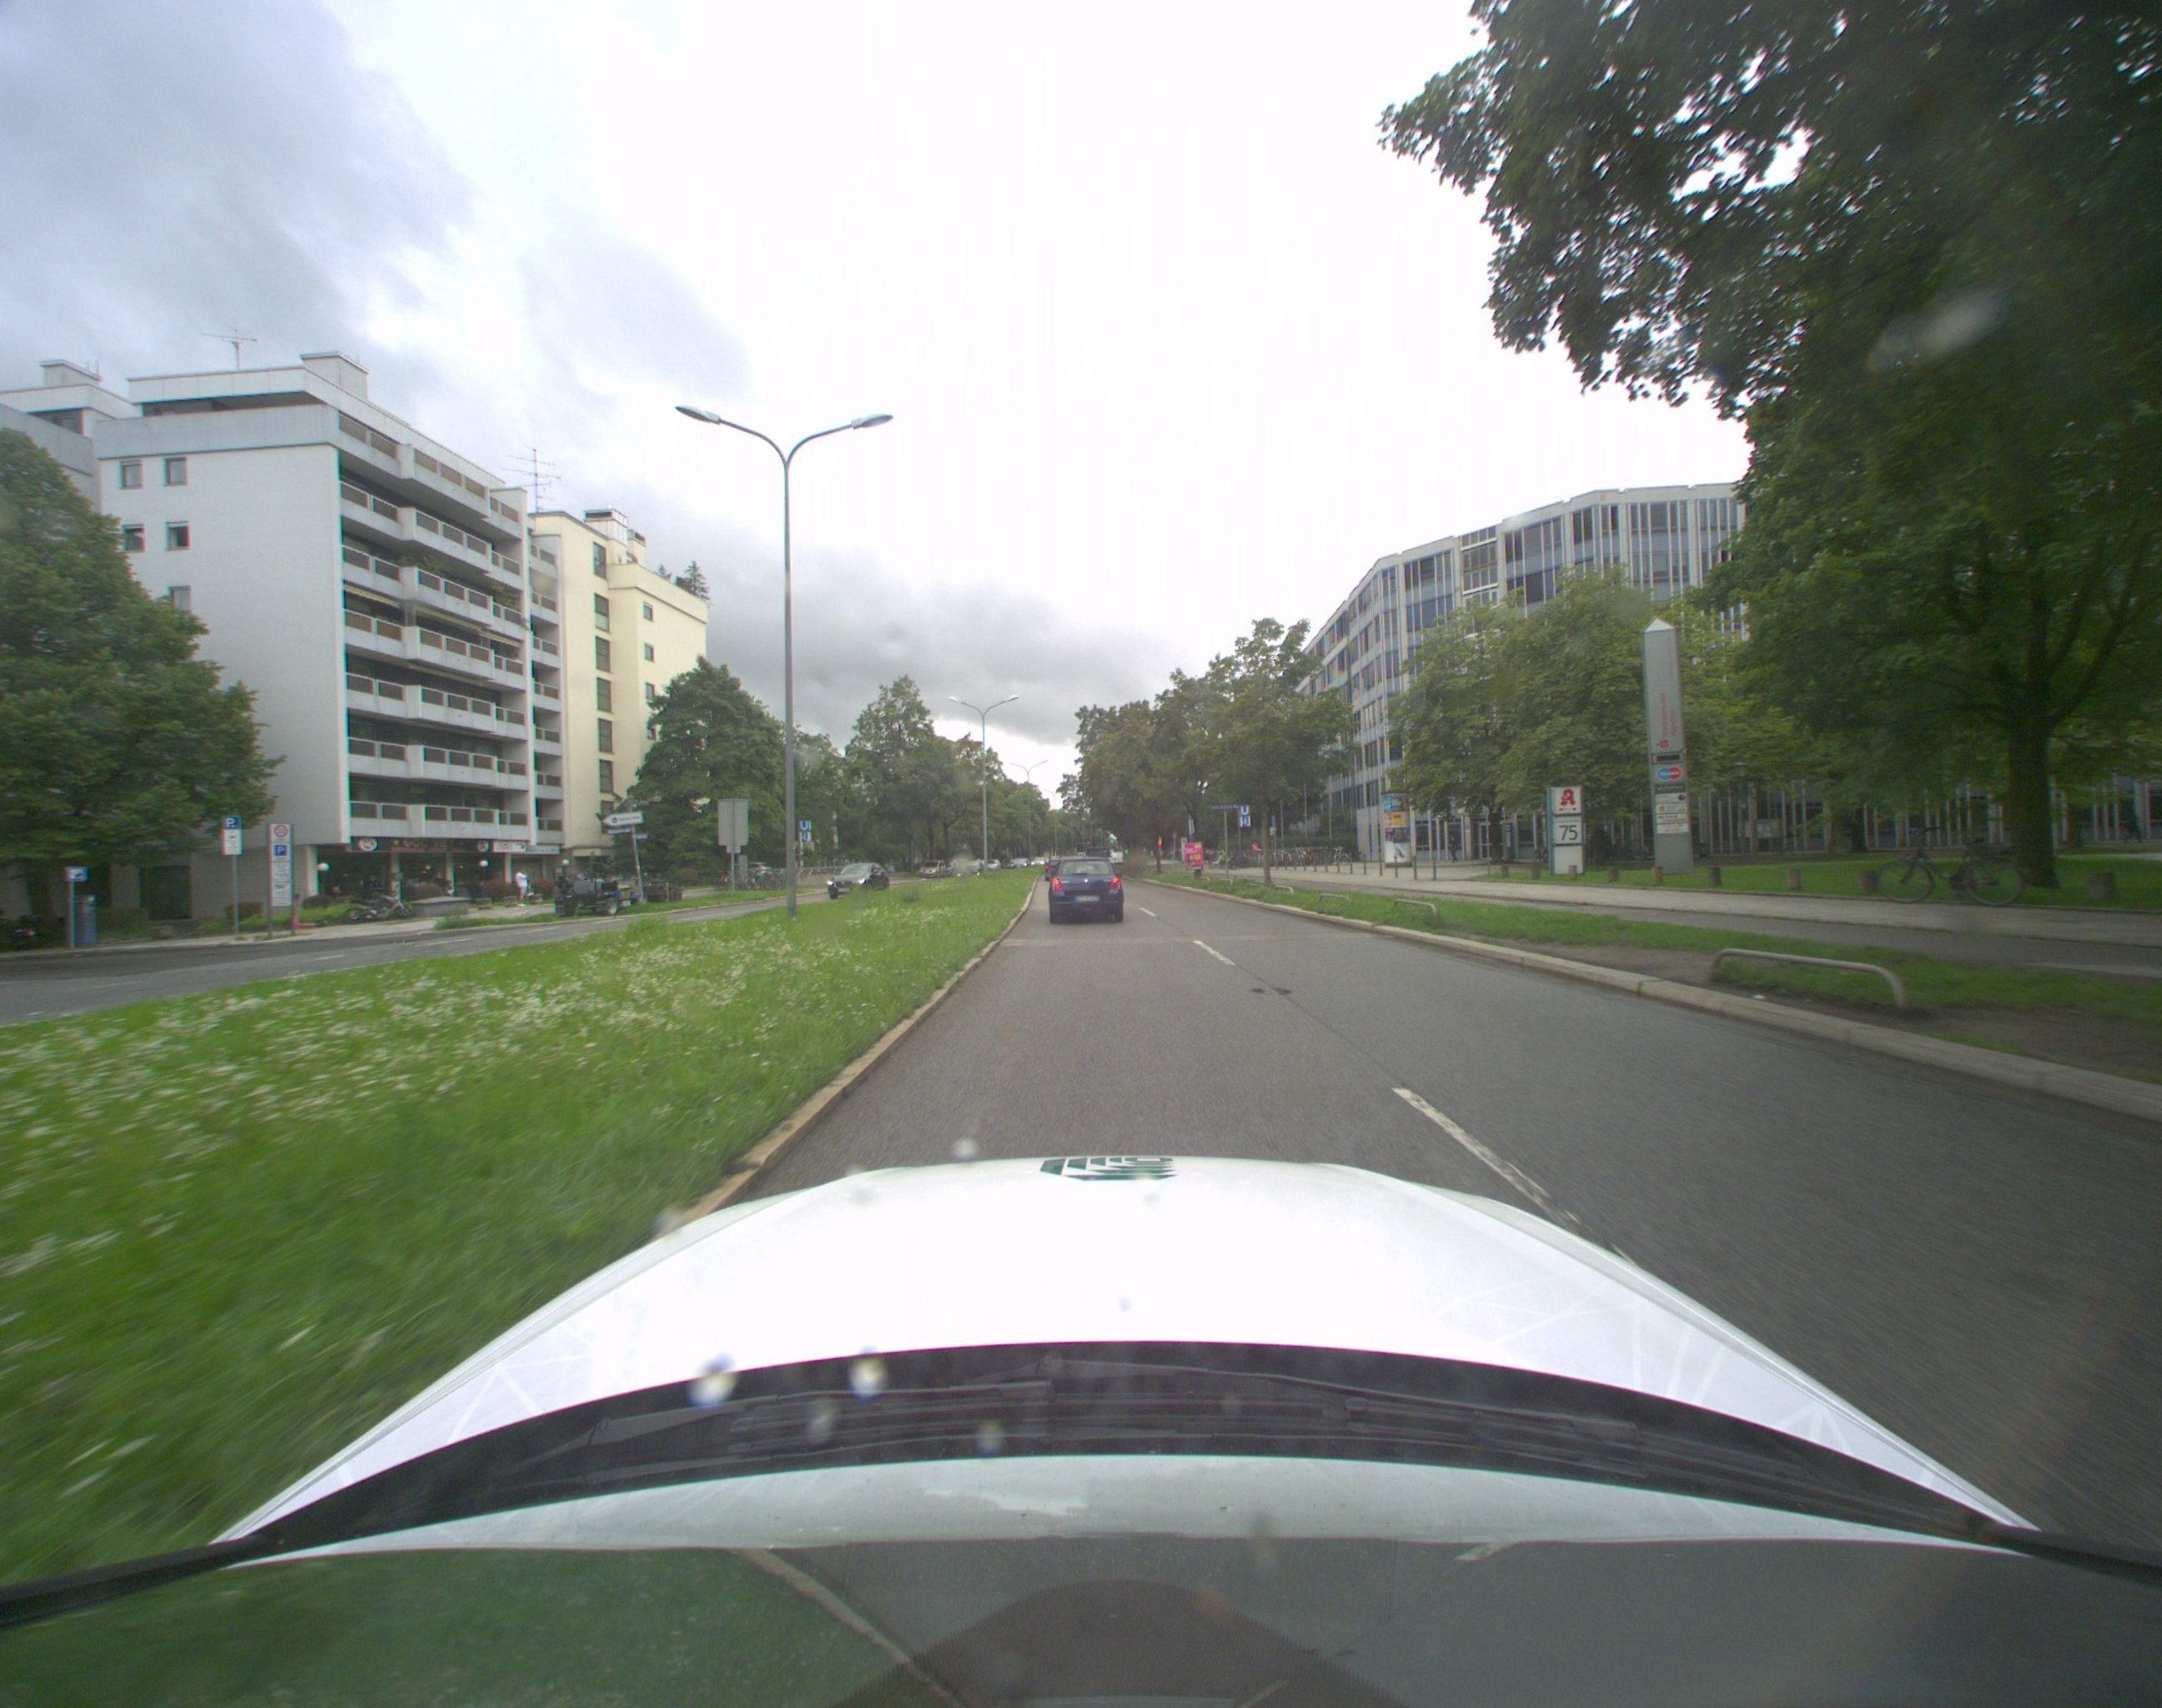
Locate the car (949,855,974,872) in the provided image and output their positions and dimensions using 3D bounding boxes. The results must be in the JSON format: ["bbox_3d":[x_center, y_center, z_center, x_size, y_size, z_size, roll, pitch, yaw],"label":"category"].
[{"bbox_3d":[-12.440,0.980,85.027,1.732,1.651,4.608,0,0,2],"label":"car"}]

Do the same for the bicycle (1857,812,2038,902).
[{"bbox_3d":[13.231,0.044,12.532,0.619,1.250,1.918,-3,0,-3],"label":"bicycle"}]

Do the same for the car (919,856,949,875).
[{"bbox_3d":[-13.247,1.021,73.483,1.639,1.614,3.824,-1,0,5],"label":"car"}]

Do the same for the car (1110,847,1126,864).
[{"bbox_3d":[5.035,0.170,111.255,1.978,2.157,5.561,-3,0,4],"label":"car"}]

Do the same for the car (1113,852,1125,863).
[{"bbox_3d":[5.500,0.487,117.469,1.694,1.397,4.237,-3,0,4],"label":"car"}]

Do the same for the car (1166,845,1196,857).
[{"bbox_3d":[18.926,-0.619,154.270,5.448,2.083,2.148,-2,0,2],"label":"car"}]

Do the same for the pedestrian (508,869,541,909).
[{"bbox_3d":[-24.877,1.534,36.420,0.667,1.708,1.130,-2,0,-3],"label":"pedestrian"}]

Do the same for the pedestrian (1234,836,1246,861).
[{"bbox_3d":[12.298,-0.455,62.964,0.649,1.899,0.749,-3,0,-1],"label":"pedestrian"}]

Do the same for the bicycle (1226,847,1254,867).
[{"bbox_3d":[10.224,0.182,52.424,2.044,1.099,0.573,-5,-1,-42],"label":"bicycle"}]

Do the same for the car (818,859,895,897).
[{"bbox_3d":[-9.951,1.032,36.418,1.948,1.480,4.264,-3,0,4],"label":"car"}]

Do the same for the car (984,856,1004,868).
[{"bbox_3d":[-11.206,1.015,104.886,1.729,1.448,4.826,0,0,3],"label":"car"}]

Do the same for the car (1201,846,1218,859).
[{"bbox_3d":[18.672,-0.204,118.605,1.835,1.818,4.474,-3,0,2],"label":"car"}]

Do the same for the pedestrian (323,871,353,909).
[{"bbox_3d":[-32.768,1.579,35.923,0.655,1.585,0.668,-2,0,2],"label":"pedestrian"}]

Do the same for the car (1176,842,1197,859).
[{"bbox_3d":[15.266,-0.547,118.190,2.256,2.306,6.271,-3,0,2],"label":"car"}]

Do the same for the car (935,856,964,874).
[{"bbox_3d":[-12.737,1.000,79.289,1.731,1.643,4.689,-1,0,4],"label":"car"}]

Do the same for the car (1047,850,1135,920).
[{"bbox_3d":[0.231,0.674,19.447,1.890,1.499,3.660,0,0,0],"label":"car"}]

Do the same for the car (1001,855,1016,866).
[{"bbox_3d":[-10.490,0.941,118.388,1.574,1.423,4.366,1,0,3],"label":"car"}]

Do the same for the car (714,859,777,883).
[{"bbox_3d":[-25.178,1.239,61.213,3.968,1.589,1.751,-2,0,4],"label":"car"}]

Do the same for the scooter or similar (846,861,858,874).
[{"bbox_3d":[-21.205,1.252,75.314,0.432,1.127,1.295,-2,0,16],"label":"scooter or similar"}]

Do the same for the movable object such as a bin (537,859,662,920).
[{"bbox_3d":[-17.457,1.232,29.789,2.188,1.953,3.996,-2,0,-2],"label":"movable object such as a bin"}]

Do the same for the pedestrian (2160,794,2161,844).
[{"bbox_3d":[36.966,-1.201,27.242,0.587,1.678,0.862,-3,0,-13],"label":"pedestrian"}]

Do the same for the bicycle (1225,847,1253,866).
[{"bbox_3d":[10.481,0.164,53.909,2.052,1.089,0.597,-4,-2,-42],"label":"bicycle"}]

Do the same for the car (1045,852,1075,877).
[{"bbox_3d":[-1.372,0.641,52.325,1.795,1.499,3.656,-3,0,-3],"label":"car"}]

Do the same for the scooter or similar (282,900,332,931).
[{"bbox_3d":[-26.992,2.145,28.425,1.151,0.959,0.440,-2,0,-19],"label":"scooter or similar"}]

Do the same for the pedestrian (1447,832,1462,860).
[{"bbox_3d":[24.017,-0.541,52.429,0.681,1.772,0.772,-3,0,13],"label":"pedestrian"}]

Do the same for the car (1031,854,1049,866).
[{"bbox_3d":[-5.489,0.851,110.176,1.908,1.484,4.868,-3,0,2],"label":"car"}]

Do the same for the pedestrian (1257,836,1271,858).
[{"bbox_3d":[14.199,-0.541,63.111,0.775,1.714,0.755,-3,0,37],"label":"pedestrian"}]

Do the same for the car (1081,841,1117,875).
[{"bbox_3d":[1.414,0.280,61.483,2.407,2.444,5.094,-1,0,5],"label":"car"}]

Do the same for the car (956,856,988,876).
[{"bbox_3d":[-8.474,0.887,63.773,1.776,1.405,4.103,-3,0,1],"label":"car"}]

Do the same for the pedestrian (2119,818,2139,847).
[{"bbox_3d":[60.039,-1.216,46.662,0.480,1.658,0.485,-2,0,0],"label":"pedestrian"}]

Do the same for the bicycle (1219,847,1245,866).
[{"bbox_3d":[10.158,0.163,54.805,1.965,1.066,0.573,-6,0,-42],"label":"bicycle"}]

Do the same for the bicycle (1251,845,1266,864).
[{"bbox_3d":[11.206,0.016,51.533,0.486,1.189,1.954,-2,0,0],"label":"bicycle"}]

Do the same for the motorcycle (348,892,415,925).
[{"bbox_3d":[-25.535,1.978,29.748,0.413,1.086,1.795,-3,0,29],"label":"motorcycle"}]

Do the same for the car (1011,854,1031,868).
[{"bbox_3d":[-6.727,0.795,91.093,1.685,1.402,3.970,-3,0,2],"label":"car"}]
